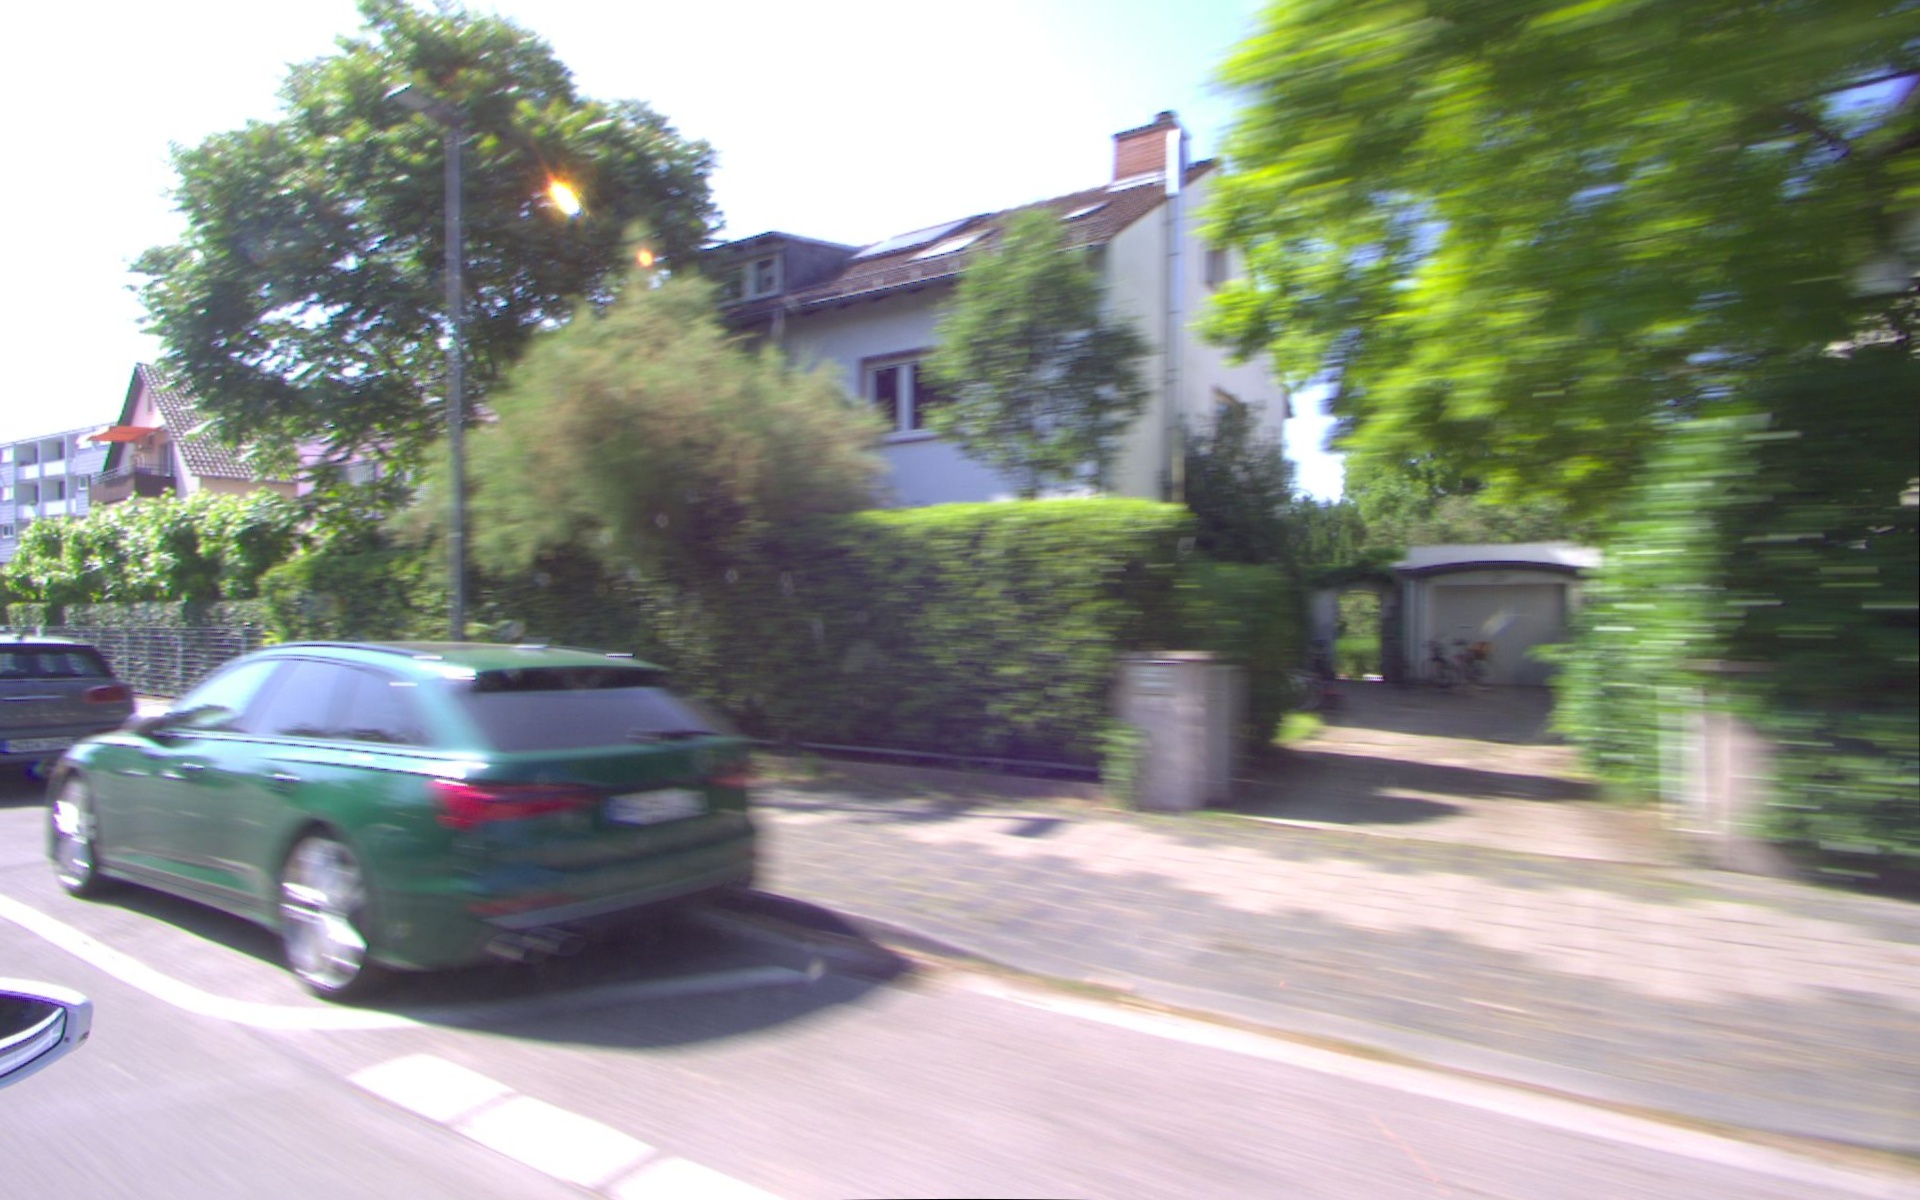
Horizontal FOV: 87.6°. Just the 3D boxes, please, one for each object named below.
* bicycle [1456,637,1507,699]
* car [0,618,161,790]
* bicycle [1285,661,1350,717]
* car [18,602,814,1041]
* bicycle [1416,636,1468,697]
[{"bbox_3d":[9.592,1.219,18.390,0.571,1.059,1.699,0,0,37],"label":"bicycle"},{"bbox_3d":[-9.927,0.932,9.998,4.008,1.463,1.759,0,0,31],"label":"car"},{"bbox_3d":[5.658,1.380,15.777,0.606,0.737,1.764,0,-1,32],"label":"bicycle"},{"bbox_3d":[-3.192,0.823,5.482,4.721,1.481,1.809,0,-4,34],"label":"car"},{"bbox_3d":[9.069,1.220,18.823,0.571,1.059,1.699,0,0,37],"label":"bicycle"}]
